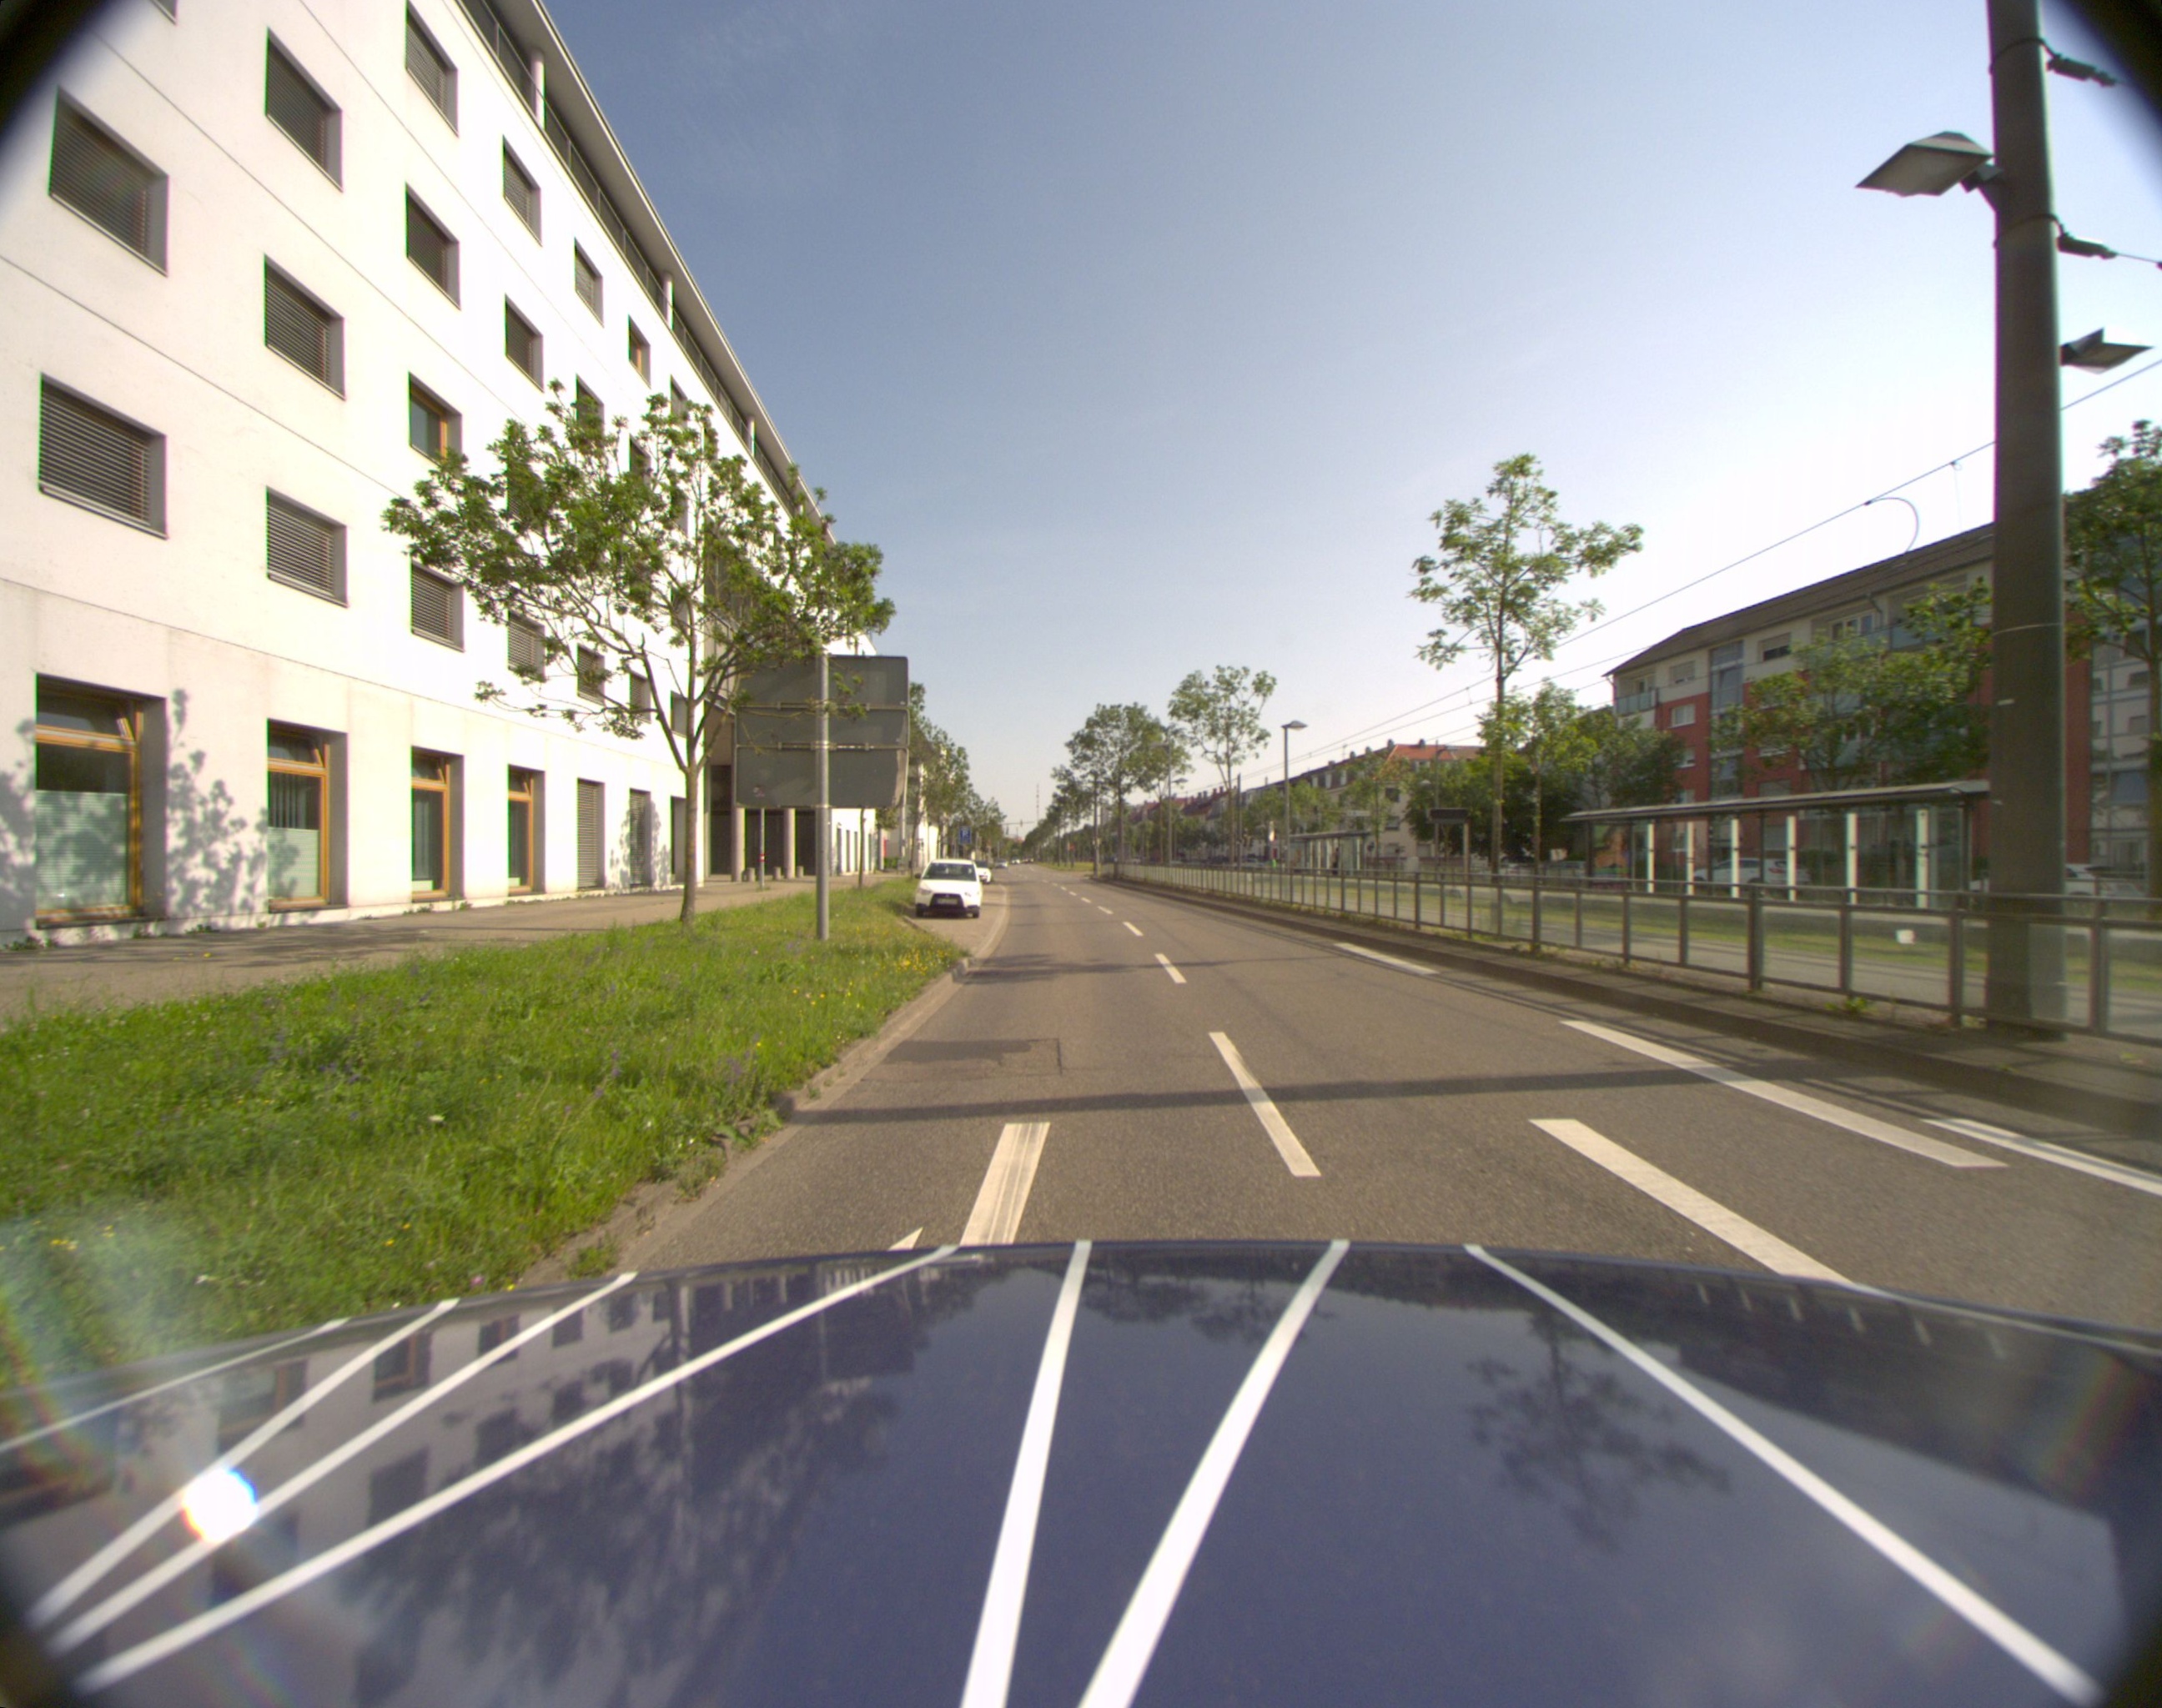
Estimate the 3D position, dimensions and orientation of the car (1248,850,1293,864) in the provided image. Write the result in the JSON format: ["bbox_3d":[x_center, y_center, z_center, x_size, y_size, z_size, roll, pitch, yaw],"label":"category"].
[{"bbox_3d":[21.350,0.336,85.599,4.453,1.505,2.004,-2,1,31],"label":"car"}]

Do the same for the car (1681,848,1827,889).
[{"bbox_3d":[28.679,0.568,32.602,1.987,1.547,4.534,-2,1,-6],"label":"car"}]

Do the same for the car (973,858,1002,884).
[{"bbox_3d":[-5.740,1.034,47.013,1.725,1.510,3.779,0,0,-6],"label":"car"}]

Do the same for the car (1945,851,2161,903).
[{"bbox_3d":[29.542,0.624,22.999,1.987,1.352,4.067,-2,1,-6],"label":"car"}]

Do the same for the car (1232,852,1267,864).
[{"bbox_3d":[21.066,0.500,95.092,3.990,1.262,1.889,-2,1,25],"label":"car"}]

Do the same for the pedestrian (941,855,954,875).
[{"bbox_3d":[-10.520,0.847,59.978,0.778,1.606,0.714,0,1,22],"label":"pedestrian"}]

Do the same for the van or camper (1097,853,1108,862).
[{"bbox_3d":[5.902,0.929,210.645,2.148,2.459,6.055,1,0,-5],"label":"van or camper"}]

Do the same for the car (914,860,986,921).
[{"bbox_3d":[-3.511,0.931,20.937,1.694,1.517,3.848,1,0,-6],"label":"car"}]

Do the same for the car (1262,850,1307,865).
[{"bbox_3d":[21.941,0.412,82.003,4.342,1.455,1.967,-2,1,28],"label":"car"}]

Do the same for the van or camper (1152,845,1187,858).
[{"bbox_3d":[17.017,-0.450,146.334,6.145,2.532,2.419,-1,1,32],"label":"van or camper"}]

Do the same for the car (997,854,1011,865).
[{"bbox_3d":[-11.749,0.824,116.027,1.999,1.652,3.998,-1,0,-5],"label":"car"}]

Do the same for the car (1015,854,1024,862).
[{"bbox_3d":[-13.744,0.934,169.613,1.999,1.652,3.998,-1,0,-5],"label":"car"}]

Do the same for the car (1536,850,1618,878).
[{"bbox_3d":[27.703,0.514,42.563,1.839,1.462,3.824,-2,1,-6],"label":"car"}]

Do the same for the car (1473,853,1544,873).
[{"bbox_3d":[27.015,0.552,48.186,1.839,1.141,4.162,-2,1,-6],"label":"car"}]

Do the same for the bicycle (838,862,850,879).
[{"bbox_3d":[-15.053,1.040,48.290,0.495,1.079,1.549,1,0,-8],"label":"bicycle"}]

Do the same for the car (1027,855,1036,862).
[{"bbox_3d":[-11.502,1.025,177.732,1.999,1.652,3.998,-1,0,-5],"label":"car"}]

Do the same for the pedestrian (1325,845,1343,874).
[{"bbox_3d":[14.367,0.293,43.180,0.674,1.643,0.794,0,1,-9],"label":"pedestrian"}]

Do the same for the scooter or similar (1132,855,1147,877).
[{"bbox_3d":[3.355,0.701,43.542,0.426,1.231,1.264,1,1,22],"label":"scooter or similar"}]

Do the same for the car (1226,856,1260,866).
[{"bbox_3d":[20.934,0.922,98.116,3.989,1.251,1.879,0,0,28],"label":"car"}]

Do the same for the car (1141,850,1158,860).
[{"bbox_3d":[11.936,0.170,132.694,2.000,1.696,4.709,2,0,-6],"label":"car"}]
